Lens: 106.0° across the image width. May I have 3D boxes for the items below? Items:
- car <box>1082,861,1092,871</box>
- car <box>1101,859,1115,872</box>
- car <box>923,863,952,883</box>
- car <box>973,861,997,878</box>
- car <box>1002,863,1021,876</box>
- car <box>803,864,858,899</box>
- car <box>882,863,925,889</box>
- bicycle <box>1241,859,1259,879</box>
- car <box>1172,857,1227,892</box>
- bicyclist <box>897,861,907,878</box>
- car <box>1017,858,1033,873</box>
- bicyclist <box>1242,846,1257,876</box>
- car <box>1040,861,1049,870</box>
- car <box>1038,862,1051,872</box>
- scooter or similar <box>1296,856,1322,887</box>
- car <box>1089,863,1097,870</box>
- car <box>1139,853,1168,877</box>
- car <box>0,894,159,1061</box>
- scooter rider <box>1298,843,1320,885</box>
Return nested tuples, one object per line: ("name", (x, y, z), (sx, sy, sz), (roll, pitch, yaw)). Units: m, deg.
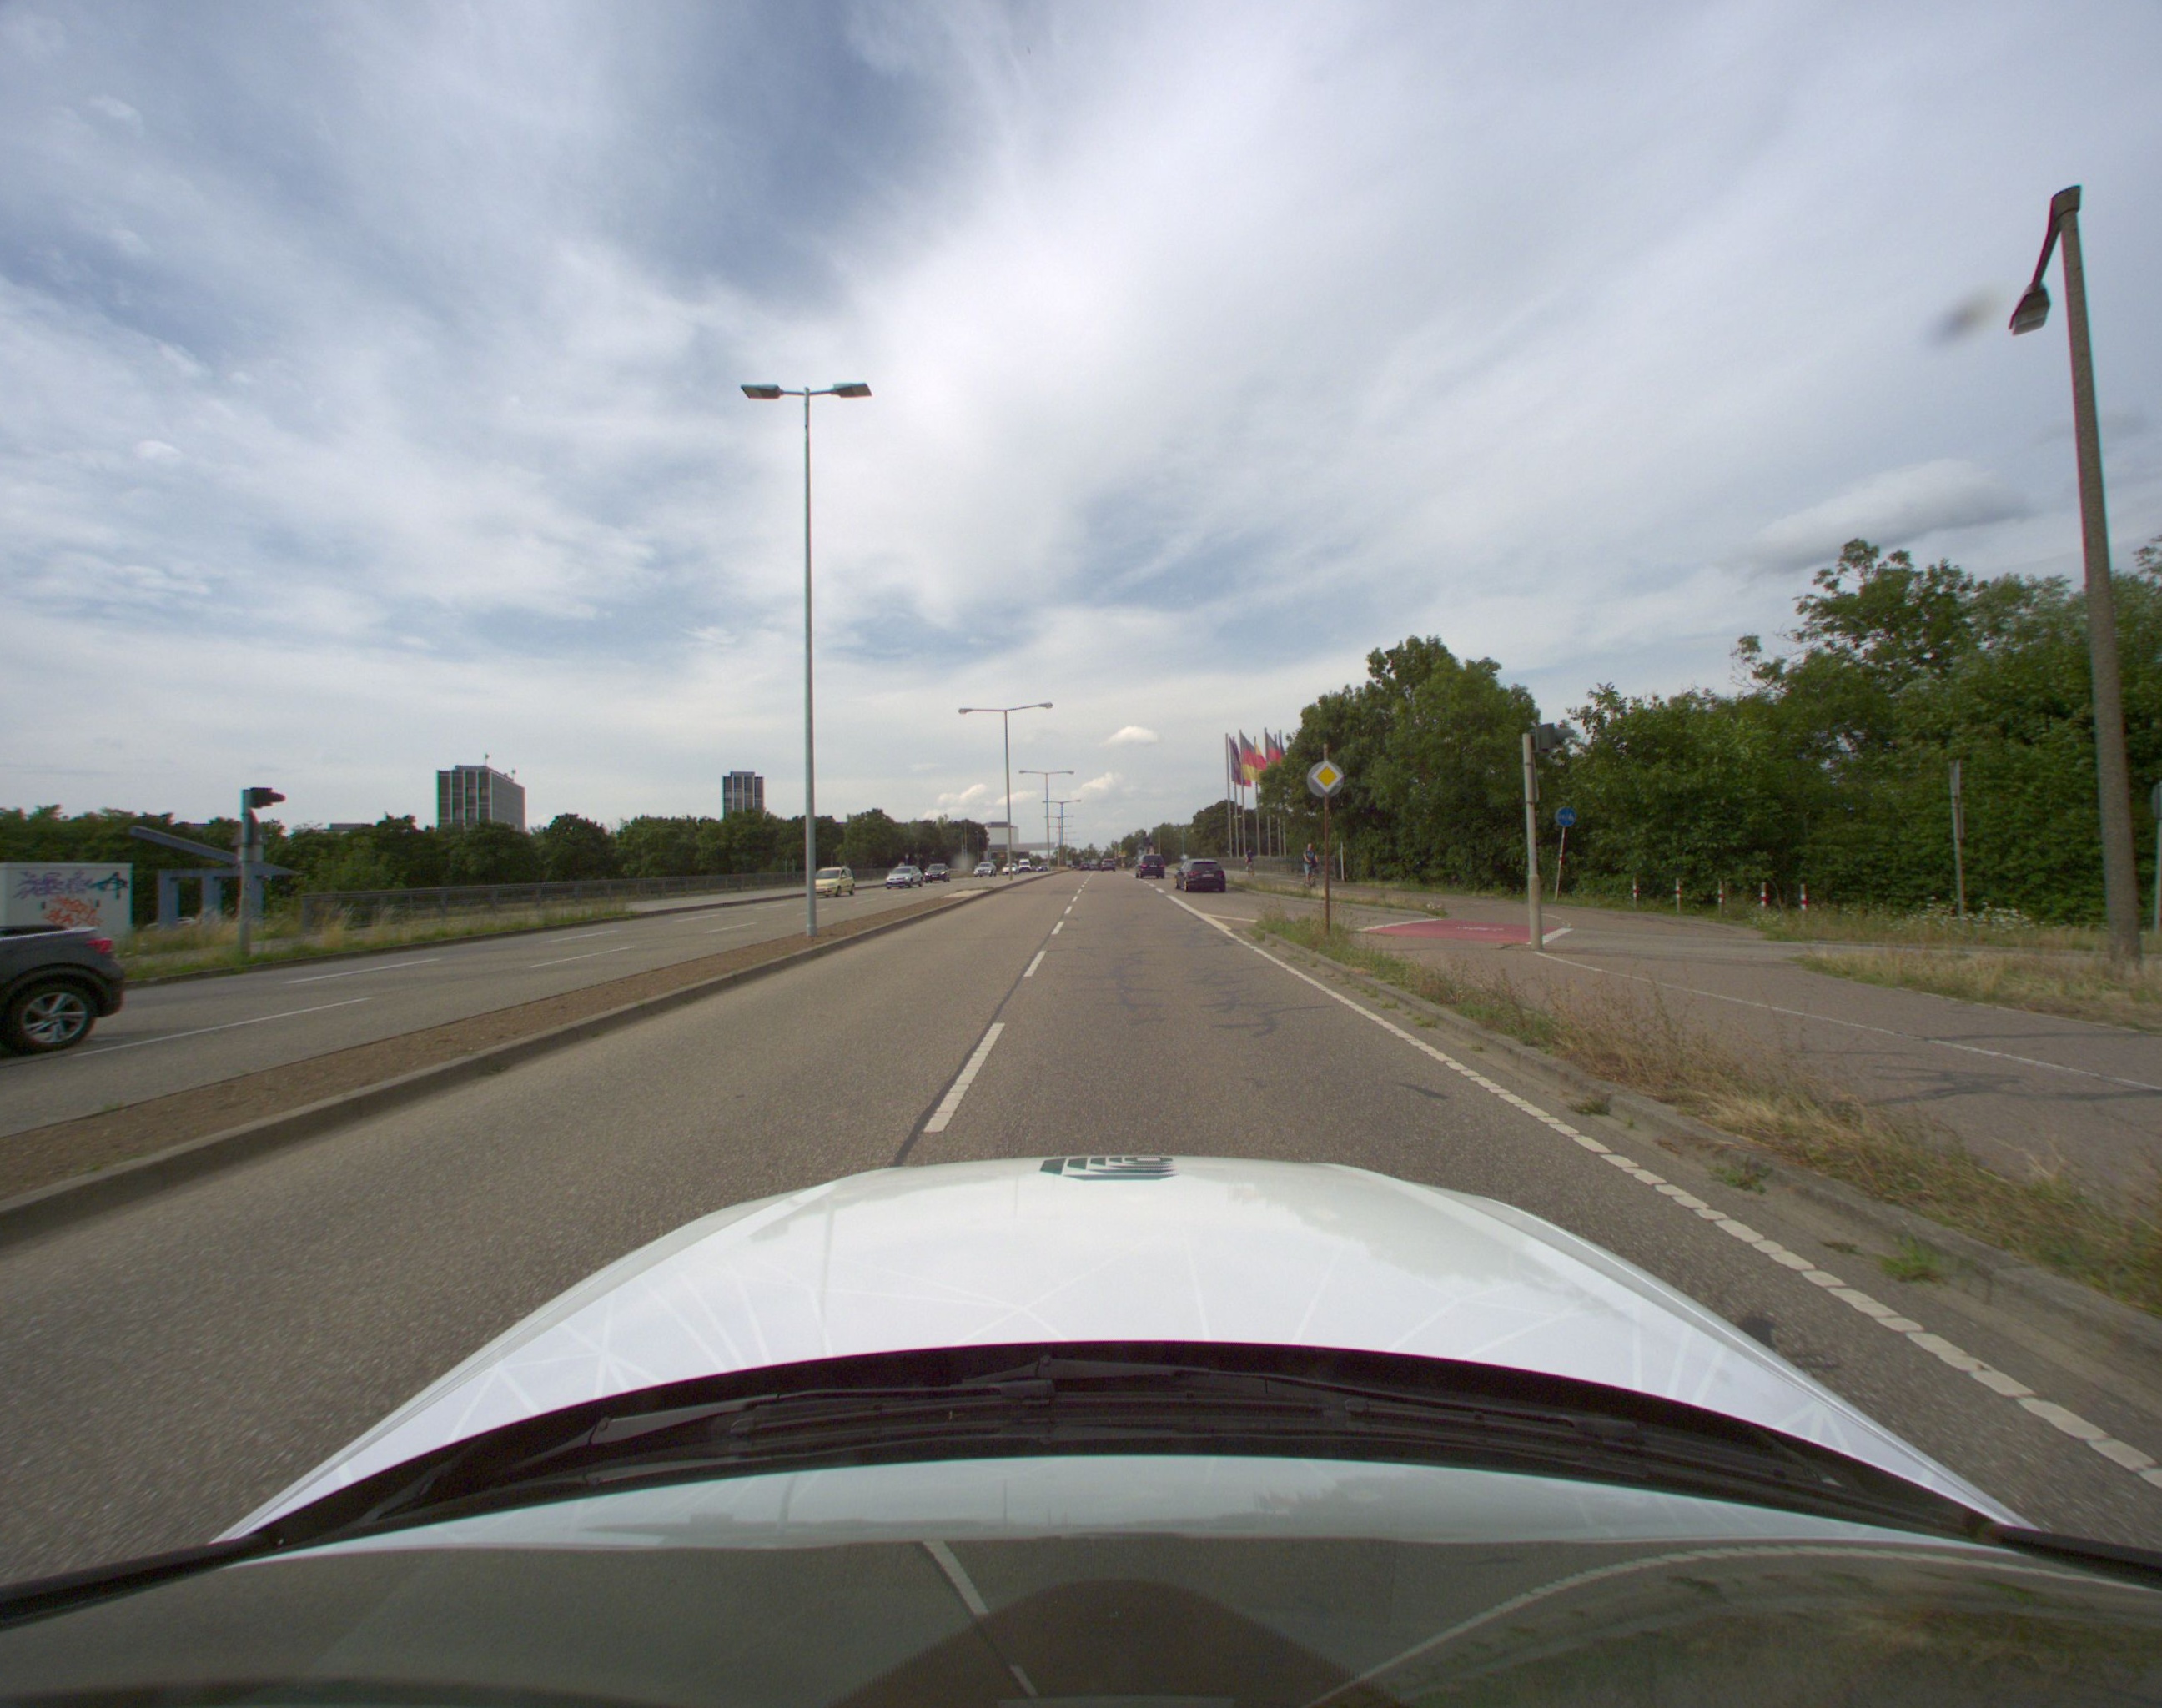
("car", (1.046, 2.245, 149.956), (1.724, 1.653, 4.116), (-1, -1, 2))
("car", (3.468, 1.467, 104.767), (1.725, 1.653, 4.114), (-1, -1, 0))
("car", (-12.203, 1.598, 69.449), (1.734, 1.515, 4.313), (-3, -1, -1))
("car", (-10.605, 1.701, 90.267), (1.856, 1.725, 4.772), (-3, -1, 2))
("car", (-9.134, 2.005, 106.807), (1.730, 1.480, 4.476), (-3, -1, 4))
("car", (-12.983, 1.401, 42.429), (1.543, 1.578, 3.691), (-3, 0, 1))
("car", (-11.886, 1.470, 54.863), (1.642, 1.515, 4.021), (-3, 0, 4))
("bicycle", (9.567, 0.837, 46.251), (0.575, 1.022, 1.976), (-4, 1, 1))
("car", (5.181, 0.866, 36.075), (1.726, 1.395, 4.112), (-2, 0, -2))
("bicyclist", (-17.168, 1.483, 78.105), (0.792, 1.626, 0.976), (0, -1, -2))
("car", (-10.269, 2.030, 149.185), (2.044, 2.643, 6.404), (-3, -1, 3))
("bicyclist", (9.582, 0.399, 46.341), (0.662, 1.659, 0.805), (0, 0, 0))
("car", (-8.009, 2.501, 176.820), (1.534, 1.871, 3.572), (-3, -1, 2))
("car", (-5.731, 2.052, 128.937), (1.732, 1.481, 4.776), (-3, -2, 1))
("scooter or similar", (9.267, 0.709, 33.155), (0.587, 1.224, 1.200), (0, -1, -7))
("car", (2.792, 2.973, 187.243), (1.725, 1.526, 4.114), (-1, -1, 0))
("car", (5.152, 0.818, 58.290), (1.725, 1.653, 4.114), (-1, -1, 0))
("car", (-10.689, 1.201, 6.516), (1.757, 1.441, 4.178), (-3, 0, 1))
("scooter rider", (9.268, 0.423, 33.130), (0.587, 1.690, 0.742), (0, -1, -7))
